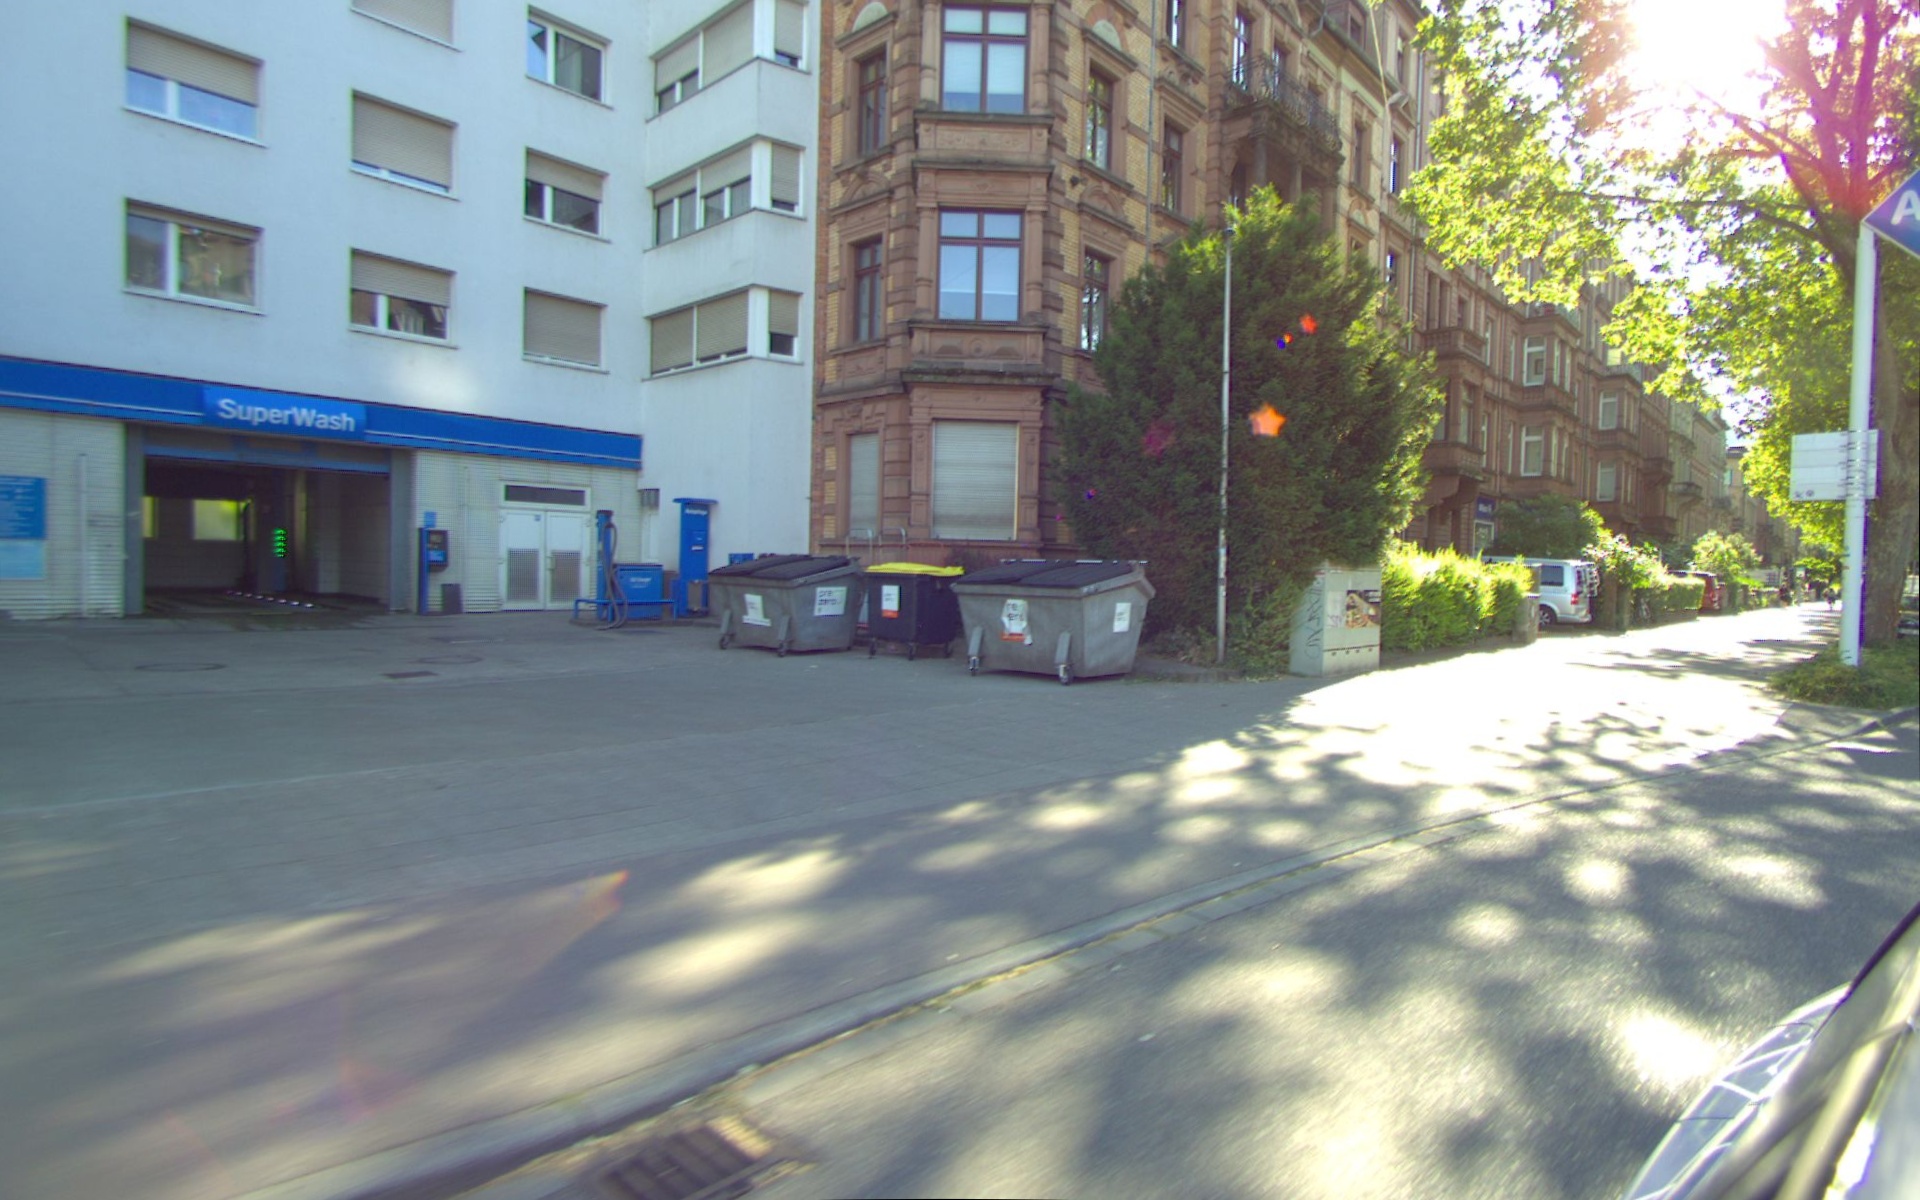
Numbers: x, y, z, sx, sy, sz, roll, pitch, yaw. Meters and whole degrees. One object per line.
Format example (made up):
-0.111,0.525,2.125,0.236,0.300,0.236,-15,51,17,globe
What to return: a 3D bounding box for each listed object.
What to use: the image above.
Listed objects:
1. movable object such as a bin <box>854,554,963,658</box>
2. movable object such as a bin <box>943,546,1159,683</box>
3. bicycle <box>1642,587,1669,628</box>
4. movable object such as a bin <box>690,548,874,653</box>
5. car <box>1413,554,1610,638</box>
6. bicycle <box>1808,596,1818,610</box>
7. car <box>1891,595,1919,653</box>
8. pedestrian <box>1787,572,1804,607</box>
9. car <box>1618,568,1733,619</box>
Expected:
-0.747,0.065,14.701,1.185,1.406,1.013,3,2,42,movable object such as a bin
1.122,0.124,12.533,2.033,1.509,1.721,3,2,40,movable object such as a bin
21.919,0.240,31.892,1.737,1.266,0.338,0,-1,-43,bicycle
-2.716,-0.038,15.443,2.206,1.441,1.752,3,2,40,movable object such as a bin
15.792,-0.180,29.140,4.575,2.038,1.884,6,4,44,car
71.685,0.228,85.075,0.475,1.157,1.866,6,4,43,bicycle
27.477,0.675,28.652,1.552,1.517,3.987,5,3,42,car
49.449,-0.633,59.875,0.673,2.038,0.623,3,2,43,pedestrian
34.096,-0.331,48.281,4.177,2.037,1.970,7,4,42,car
